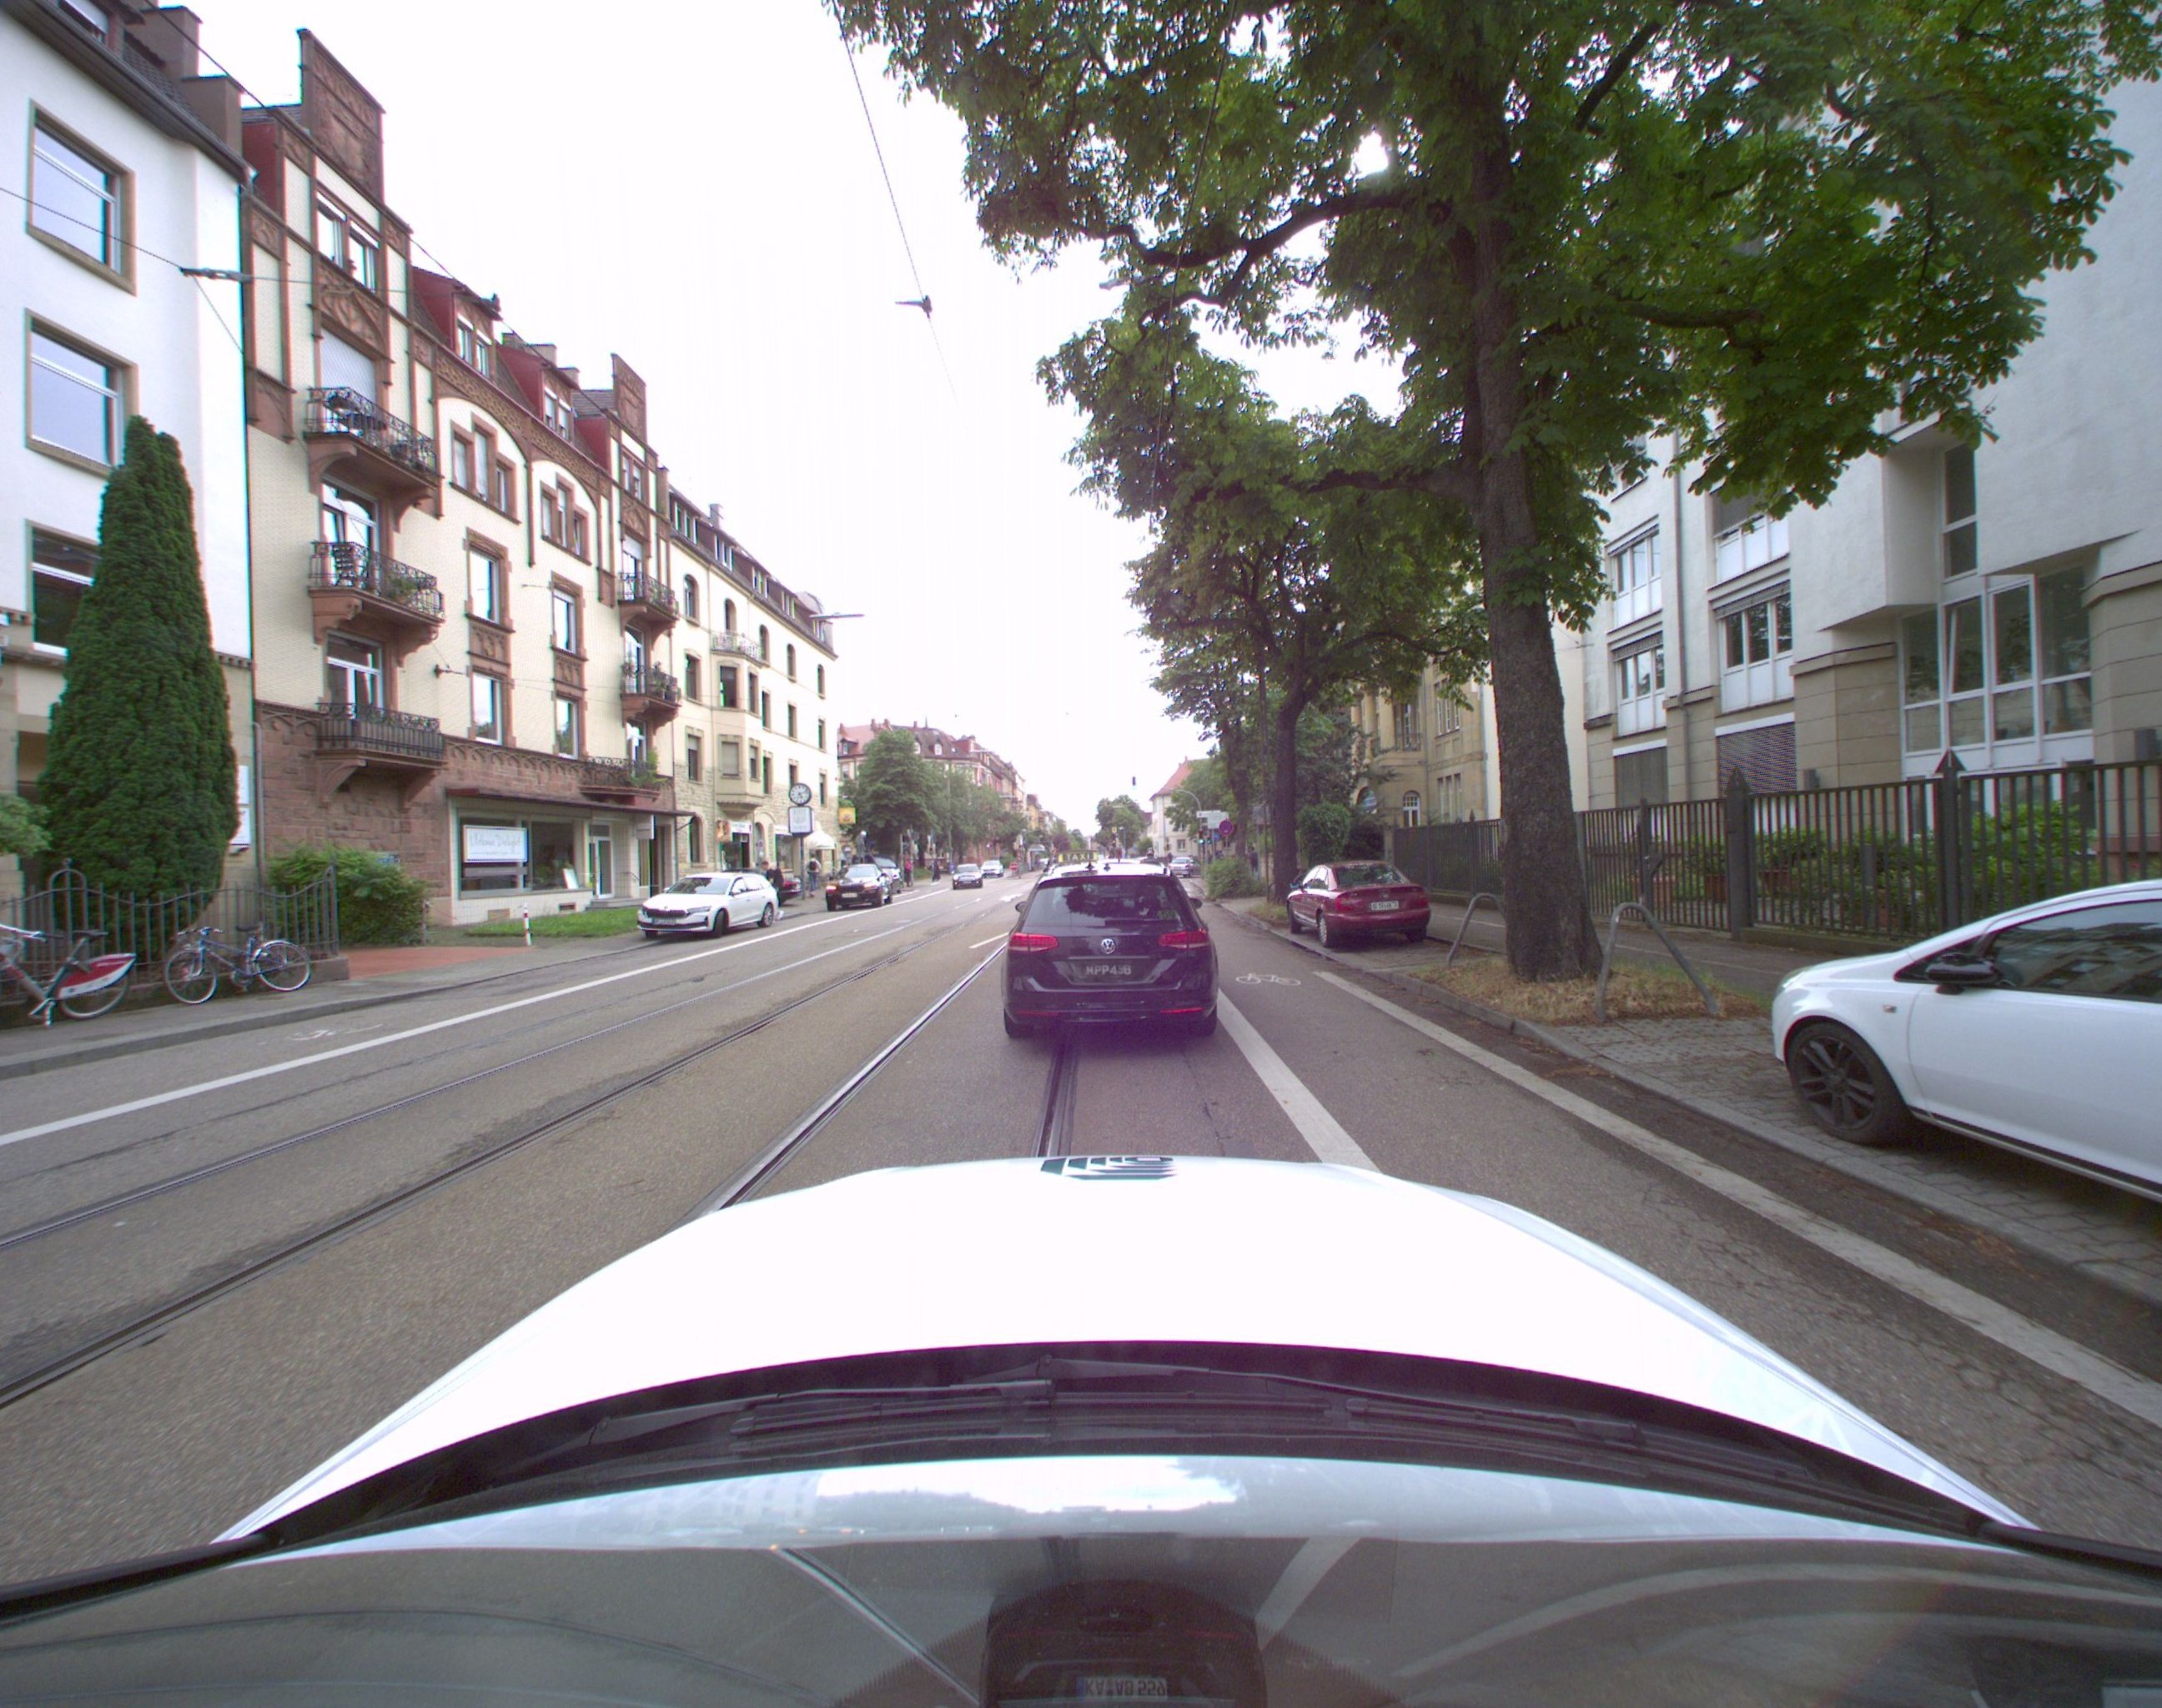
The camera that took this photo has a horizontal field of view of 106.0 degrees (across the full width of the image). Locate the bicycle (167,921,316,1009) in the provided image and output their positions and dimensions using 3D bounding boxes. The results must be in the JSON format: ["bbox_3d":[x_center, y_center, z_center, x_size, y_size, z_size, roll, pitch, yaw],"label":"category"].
[{"bbox_3d":[-10.898,1.408,10.638,0.331,0.938,1.515,-2,0,1],"label":"bicycle"}]

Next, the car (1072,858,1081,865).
[{"bbox_3d":[-0.991,1.560,172.695,1.715,1.465,3.864,-2,0,1],"label":"car"}]

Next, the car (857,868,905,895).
[{"bbox_3d":[-10.846,1.461,44.443,1.644,1.361,4.128,1,0,-1],"label":"car"}]

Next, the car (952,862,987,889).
[{"bbox_3d":[-6.544,1.227,48.144,1.604,1.422,3.484,-3,0,-1],"label":"car"}]

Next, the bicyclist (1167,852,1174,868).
[{"bbox_3d":[9.235,0.602,84.029,0.647,1.568,0.697,-2,-1,8],"label":"bicyclist"}]

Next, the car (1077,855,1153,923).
[{"bbox_3d":[0.849,0.824,20.881,1.717,1.546,4.001,-1,0,2],"label":"car"}]

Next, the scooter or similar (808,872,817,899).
[{"bbox_3d":[-12.493,1.460,37.880,0.232,1.234,0.945,-1,-1,-26],"label":"scooter or similar"}]

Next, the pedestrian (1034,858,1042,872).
[{"bbox_3d":[-4.720,1.177,89.590,0.711,1.521,0.590,-2,-1,3],"label":"pedestrian"}]

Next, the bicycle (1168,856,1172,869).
[{"bbox_3d":[9.201,0.870,83.888,0.295,1.223,1.434,-2,0,9],"label":"bicycle"}]

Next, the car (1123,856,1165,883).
[{"bbox_3d":[3.740,0.876,47.650,1.879,1.408,4.013,-2,0,12],"label":"car"}]

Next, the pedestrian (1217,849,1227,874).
[{"bbox_3d":[10.621,0.585,61.327,0.510,1.831,0.420,-5,-1,18],"label":"pedestrian"}]

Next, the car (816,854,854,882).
[{"bbox_3d":[-22.883,1.296,75.650,2.193,2.527,5.328,-1,-1,-30],"label":"car"}]

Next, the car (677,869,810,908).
[{"bbox_3d":[-13.157,1.336,31.975,4.415,1.370,1.878,1,-1,-3],"label":"car"}]

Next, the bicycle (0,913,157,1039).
[{"bbox_3d":[-10.682,1.231,8.526,0.385,1.102,1.619,-2,0,-10],"label":"bicycle"}]

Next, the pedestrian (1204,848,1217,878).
[{"bbox_3d":[8.062,0.565,50.813,0.583,1.831,0.604,-5,-1,2],"label":"pedestrian"}]

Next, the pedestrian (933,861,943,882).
[{"bbox_3d":[-11.532,1.384,65.770,0.587,1.663,0.839,-2,-1,1],"label":"pedestrian"}]

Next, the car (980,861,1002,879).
[{"bbox_3d":[-7.944,1.411,72.004,1.695,1.496,3.925,-3,0,-4],"label":"car"}]

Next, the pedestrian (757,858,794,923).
[{"bbox_3d":[-8.847,1.044,23.612,0.665,1.844,0.882,-2,-1,0],"label":"pedestrian"}]

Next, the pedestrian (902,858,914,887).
[{"bbox_3d":[-11.244,1.212,52.994,0.621,1.842,0.609,-2,-1,-1],"label":"pedestrian"}]

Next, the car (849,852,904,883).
[{"bbox_3d":[-16.922,1.107,67.115,2.197,2.417,5.316,-1,-1,-41],"label":"car"}]

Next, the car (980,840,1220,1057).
[{"bbox_3d":[0.200,0.697,7.909,1.717,1.546,4.001,-1,0,2],"label":"car"}]

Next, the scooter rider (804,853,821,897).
[{"bbox_3d":[-12.499,0.977,37.874,0.645,2.014,0.751,-1,-1,-25],"label":"scooter rider"}]

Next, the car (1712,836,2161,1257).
[{"bbox_3d":[4.606,0.670,3.057,1.596,1.435,3.779,-3,0,2],"label":"car"}]

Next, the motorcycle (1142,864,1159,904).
[{"bbox_3d":[2.283,0.979,26.929,0.445,1.235,1.907,-2,0,2],"label":"motorcycle"}]

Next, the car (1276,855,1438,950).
[{"bbox_3d":[4.853,0.773,14.943,1.596,1.399,4.229,-3,0,2],"label":"car"}]

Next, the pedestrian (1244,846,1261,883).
[{"bbox_3d":[8.647,0.514,41.086,0.630,1.815,0.726,-2,-1,-1],"label":"pedestrian"}]

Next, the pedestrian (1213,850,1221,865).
[{"bbox_3d":[14.497,0.339,86.725,0.612,1.554,0.577,-1,-1,-38],"label":"pedestrian"}]

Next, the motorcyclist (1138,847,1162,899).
[{"bbox_3d":[2.283,0.617,27.068,0.700,1.692,0.805,-2,-1,1],"label":"motorcyclist"}]

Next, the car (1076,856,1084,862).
[{"bbox_3d":[-0.158,1.295,211.357,1.787,1.596,4.005,-2,0,4],"label":"car"}]

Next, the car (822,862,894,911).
[{"bbox_3d":[-8.572,1.202,31.725,1.881,1.611,4.875,-4,0,-7],"label":"car"}]

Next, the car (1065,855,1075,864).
[{"bbox_3d":[-2.164,1.118,155.342,1.715,1.622,3.864,-2,0,1],"label":"car"}]

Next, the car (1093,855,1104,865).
[{"bbox_3d":[3.312,1.150,155.103,2.025,2.014,4.001,0,-1,2],"label":"car"}]

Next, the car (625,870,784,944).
[{"bbox_3d":[-9.140,1.216,20.259,1.741,1.484,4.609,-2,0,1],"label":"car"}]

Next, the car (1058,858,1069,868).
[{"bbox_3d":[-3.019,1.476,140.757,1.715,1.622,3.864,-2,0,1],"label":"car"}]

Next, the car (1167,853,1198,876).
[{"bbox_3d":[7.170,0.753,57.247,1.981,1.578,4.011,-1,-1,10],"label":"car"}]

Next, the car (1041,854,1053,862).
[{"bbox_3d":[-6.767,0.811,161.753,1.986,1.596,4.001,-2,0,1],"label":"car"}]

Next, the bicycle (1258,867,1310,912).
[{"bbox_3d":[5.636,0.954,22.527,1.915,1.198,0.428,1,-2,-43],"label":"bicycle"}]

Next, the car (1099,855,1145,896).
[{"bbox_3d":[1.635,0.838,33.215,1.717,1.546,4.001,-1,0,2],"label":"car"}]
